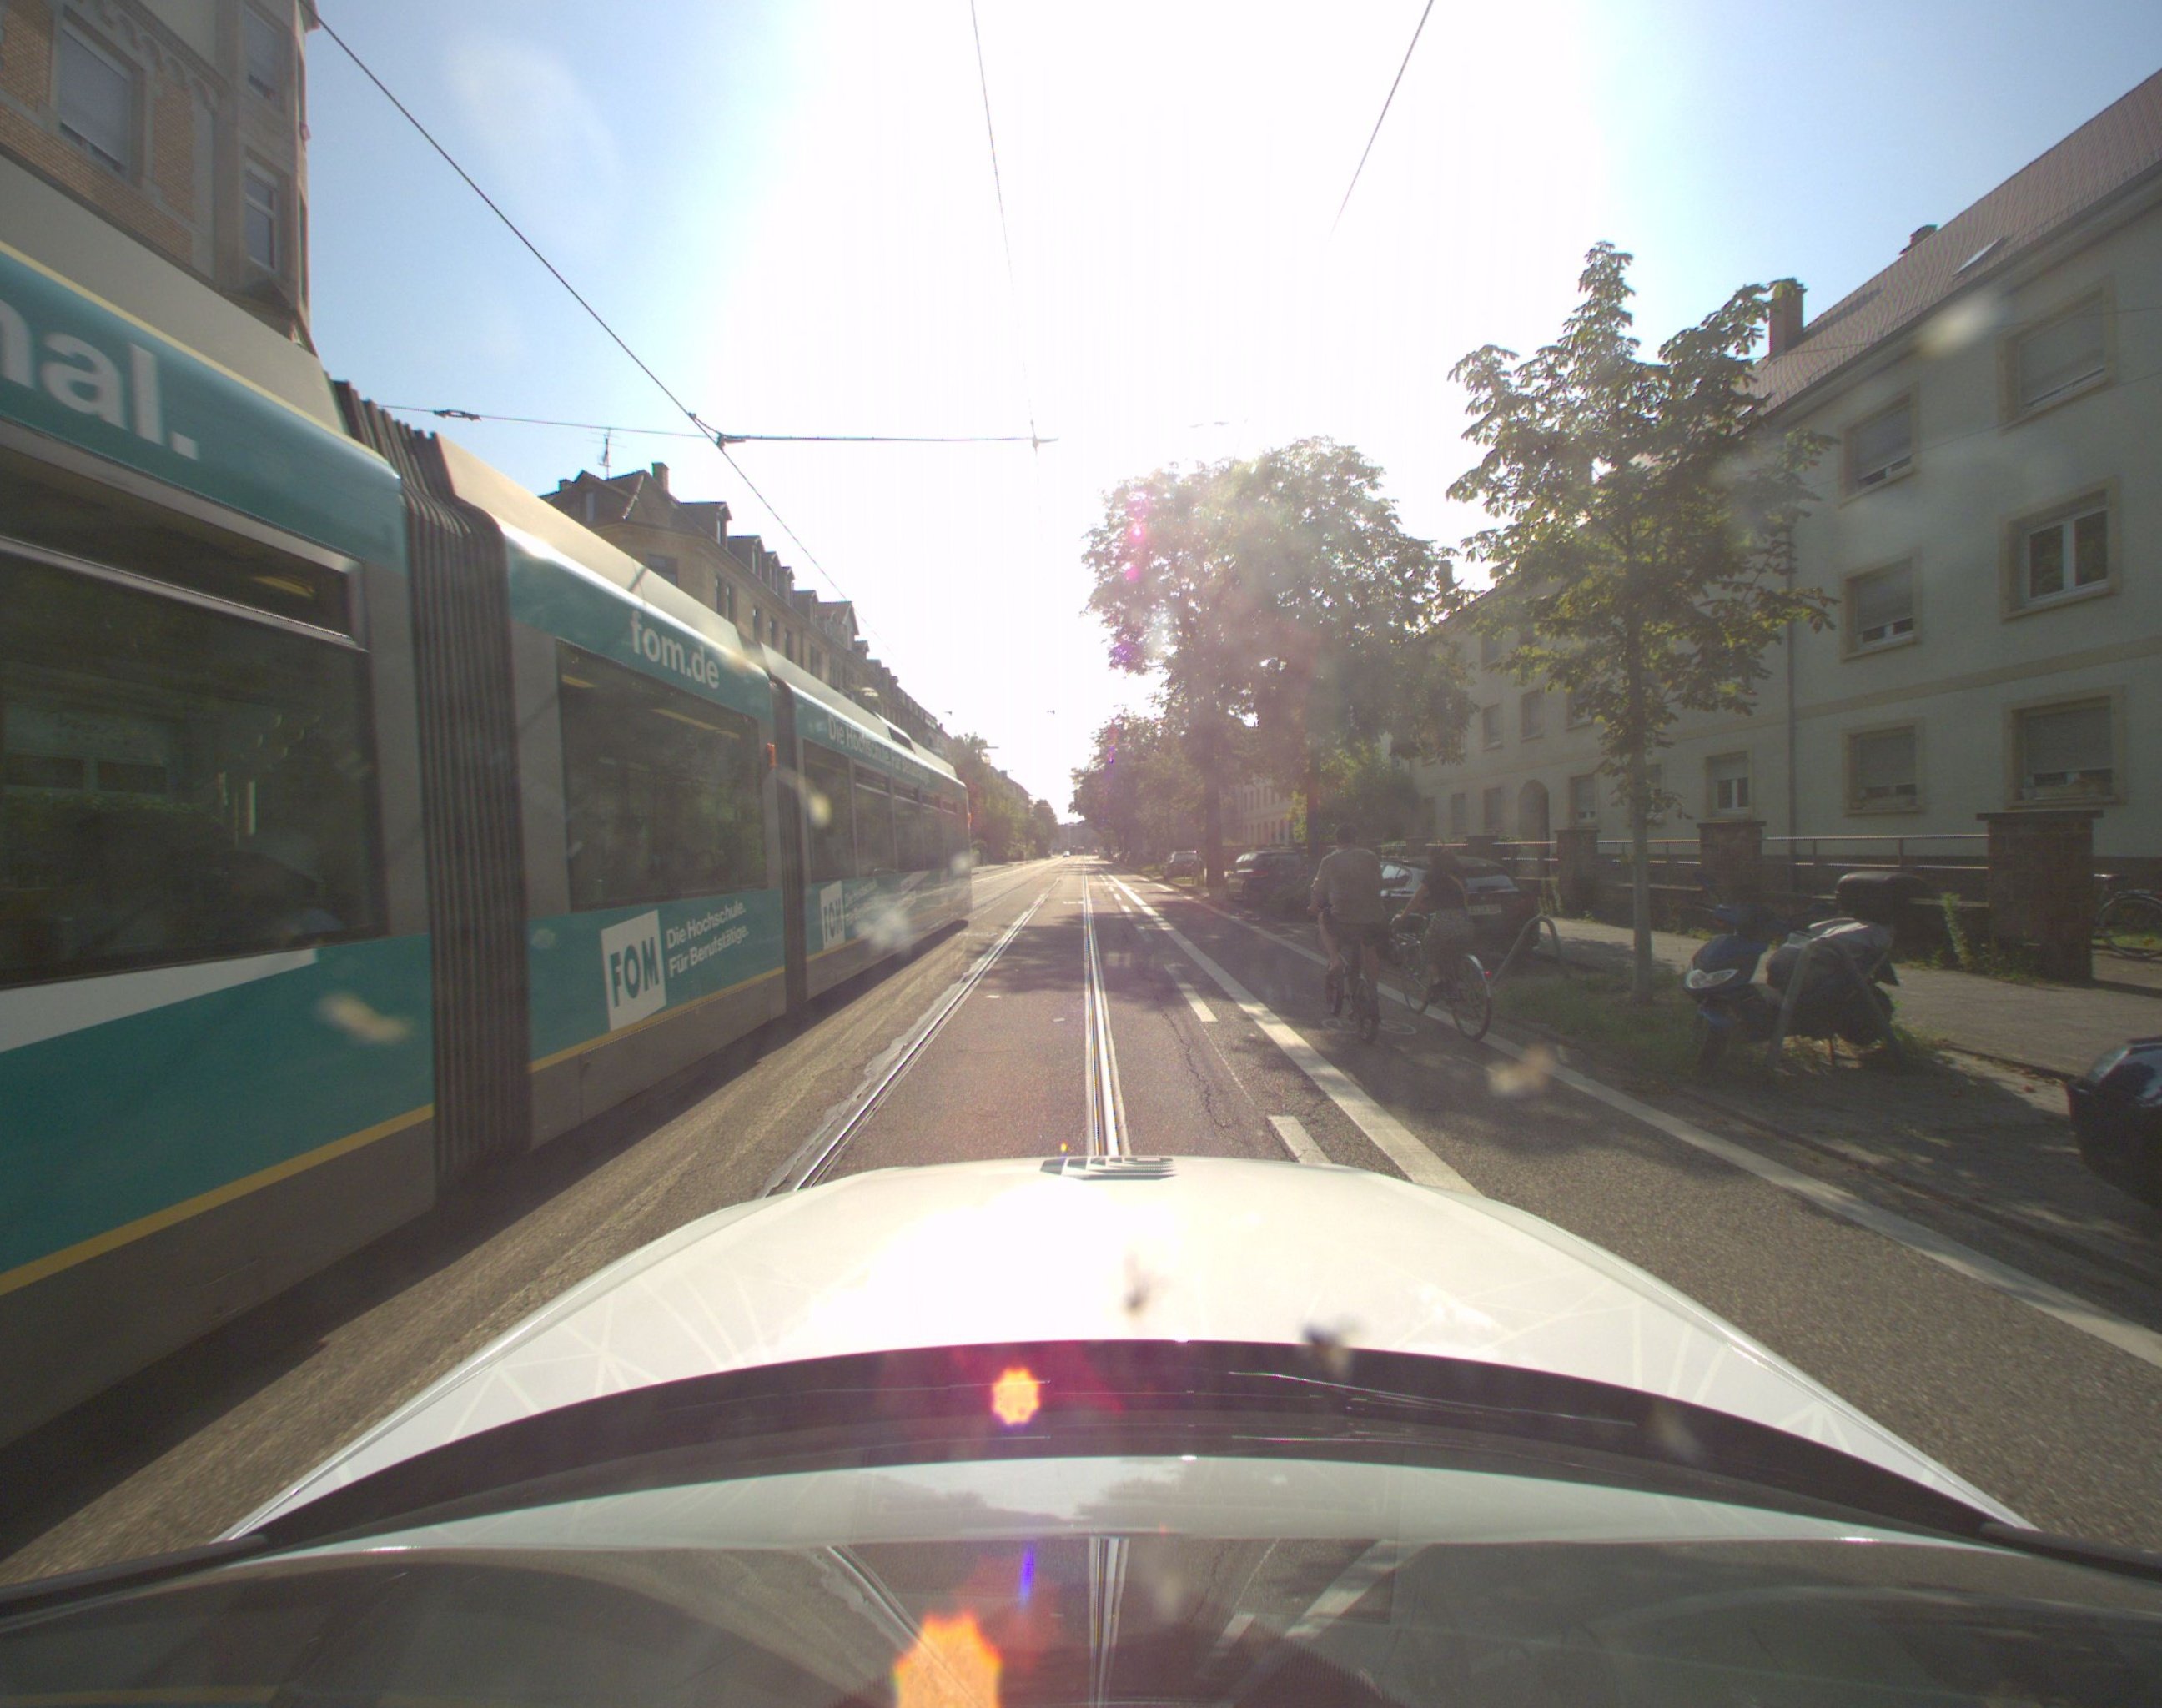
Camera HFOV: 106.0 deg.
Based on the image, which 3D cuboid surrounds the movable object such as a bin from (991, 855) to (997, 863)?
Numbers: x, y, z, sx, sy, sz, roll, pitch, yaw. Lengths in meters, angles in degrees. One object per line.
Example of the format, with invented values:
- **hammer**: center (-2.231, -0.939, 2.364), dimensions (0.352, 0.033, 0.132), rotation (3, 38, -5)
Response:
- **movable object such as a bin**: center (-10.812, 0.630, 101.288), dimensions (0.630, 1.078, 0.703), rotation (-1, 0, -6)

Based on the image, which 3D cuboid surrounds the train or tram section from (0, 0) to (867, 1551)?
- **train or tram section**: center (-3.556, -0.350, 2.986), dimensions (2.726, 3.505, 10.773), rotation (-1, 0, 0)

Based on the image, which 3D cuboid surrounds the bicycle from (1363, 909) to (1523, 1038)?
- **bicycle**: center (3.213, 1.019, 7.428), dimensions (0.652, 0.909, 1.774), rotation (1, 0, -1)

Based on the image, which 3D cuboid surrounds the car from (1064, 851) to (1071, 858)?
- **car**: center (-3.614, 0.080, 212.991), dimensions (1.721, 1.638, 3.984), rotation (-1, 0, 0)

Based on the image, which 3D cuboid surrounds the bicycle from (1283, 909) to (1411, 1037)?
- **bicycle**: center (2.321, 1.005, 7.278), dimensions (0.624, 0.909, 1.524), rotation (1, 0, -1)

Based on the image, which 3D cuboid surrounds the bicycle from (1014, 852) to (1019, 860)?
- **bicycle**: center (-10.165, 0.375, 127.957), dimensions (0.559, 1.221, 2.115), rotation (-1, 0, 2)

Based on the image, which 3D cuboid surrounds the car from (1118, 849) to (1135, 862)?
- **car**: center (5.411, 0.203, 97.023), dimensions (1.766, 1.473, 3.974), rotation (-2, -1, 0)

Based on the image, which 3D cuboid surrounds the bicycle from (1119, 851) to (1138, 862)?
- **bicycle**: center (5.458, 0.280, 92.843), dimensions (2.105, 1.105, 0.561), rotation (-1, 0, -8)

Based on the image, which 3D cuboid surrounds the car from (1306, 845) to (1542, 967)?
- **car**: center (4.927, 0.639, 12.431), dimensions (1.684, 1.434, 4.335), rotation (-4, 0, 0)

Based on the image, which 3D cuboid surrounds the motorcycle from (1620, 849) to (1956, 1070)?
- **motorcycle**: center (5.006, 0.708, 5.835), dimensions (1.850, 1.289, 0.704), rotation (-5, 5, -3)

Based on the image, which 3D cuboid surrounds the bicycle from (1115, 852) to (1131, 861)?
- **bicycle**: center (5.558, 0.384, 107.501), dimensions (2.101, 1.105, 0.615), rotation (-3, 0, -2)

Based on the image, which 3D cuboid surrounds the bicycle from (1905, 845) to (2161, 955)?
- **bicycle**: center (11.151, 0.451, 9.452), dimensions (0.770, 1.104, 2.331), rotation (-1, 1, -2)

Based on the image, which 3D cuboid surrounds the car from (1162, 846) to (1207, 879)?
- **car**: center (5.198, 0.399, 41.499), dimensions (1.738, 1.560, 4.719), rotation (-2, 0, 1)

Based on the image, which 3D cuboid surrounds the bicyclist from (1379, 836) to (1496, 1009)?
- **bicyclist**: center (3.215, 0.585, 7.413), dimensions (0.652, 1.474, 0.908), rotation (1, 0, -1)

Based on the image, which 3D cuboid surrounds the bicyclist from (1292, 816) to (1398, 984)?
- **bicyclist**: center (2.332, 0.387, 7.288), dimensions (0.624, 1.401, 0.929), rotation (1, 0, -1)

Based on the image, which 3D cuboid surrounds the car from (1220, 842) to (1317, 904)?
- **car**: center (5.135, 0.485, 22.829), dimensions (1.684, 1.502, 4.095), rotation (-3, 0, 0)

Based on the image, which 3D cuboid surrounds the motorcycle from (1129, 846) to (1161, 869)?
- **motorcycle**: center (5.026, 0.272, 64.167), dimensions (2.389, 1.673, 0.919), rotation (-2, 1, 44)

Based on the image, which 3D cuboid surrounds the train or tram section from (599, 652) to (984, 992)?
- **train or tram section**: center (-3.626, -0.374, 13.815), dimensions (2.726, 3.505, 10.773), rotation (-1, 0, 0)

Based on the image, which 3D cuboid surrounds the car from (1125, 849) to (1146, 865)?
- **car**: center (5.337, 0.272, 79.998), dimensions (1.721, 1.504, 3.984), rotation (-3, 0, 0)

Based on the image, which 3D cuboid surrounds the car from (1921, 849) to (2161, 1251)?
- **car**: center (4.803, 0.721, 1.730), dimensions (1.640, 1.448, 4.246), rotation (-3, 0, 0)

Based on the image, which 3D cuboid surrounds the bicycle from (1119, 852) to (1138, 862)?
- **bicycle**: center (5.404, 0.306, 93.367), dimensions (2.105, 1.105, 0.561), rotation (-1, 0, -8)
